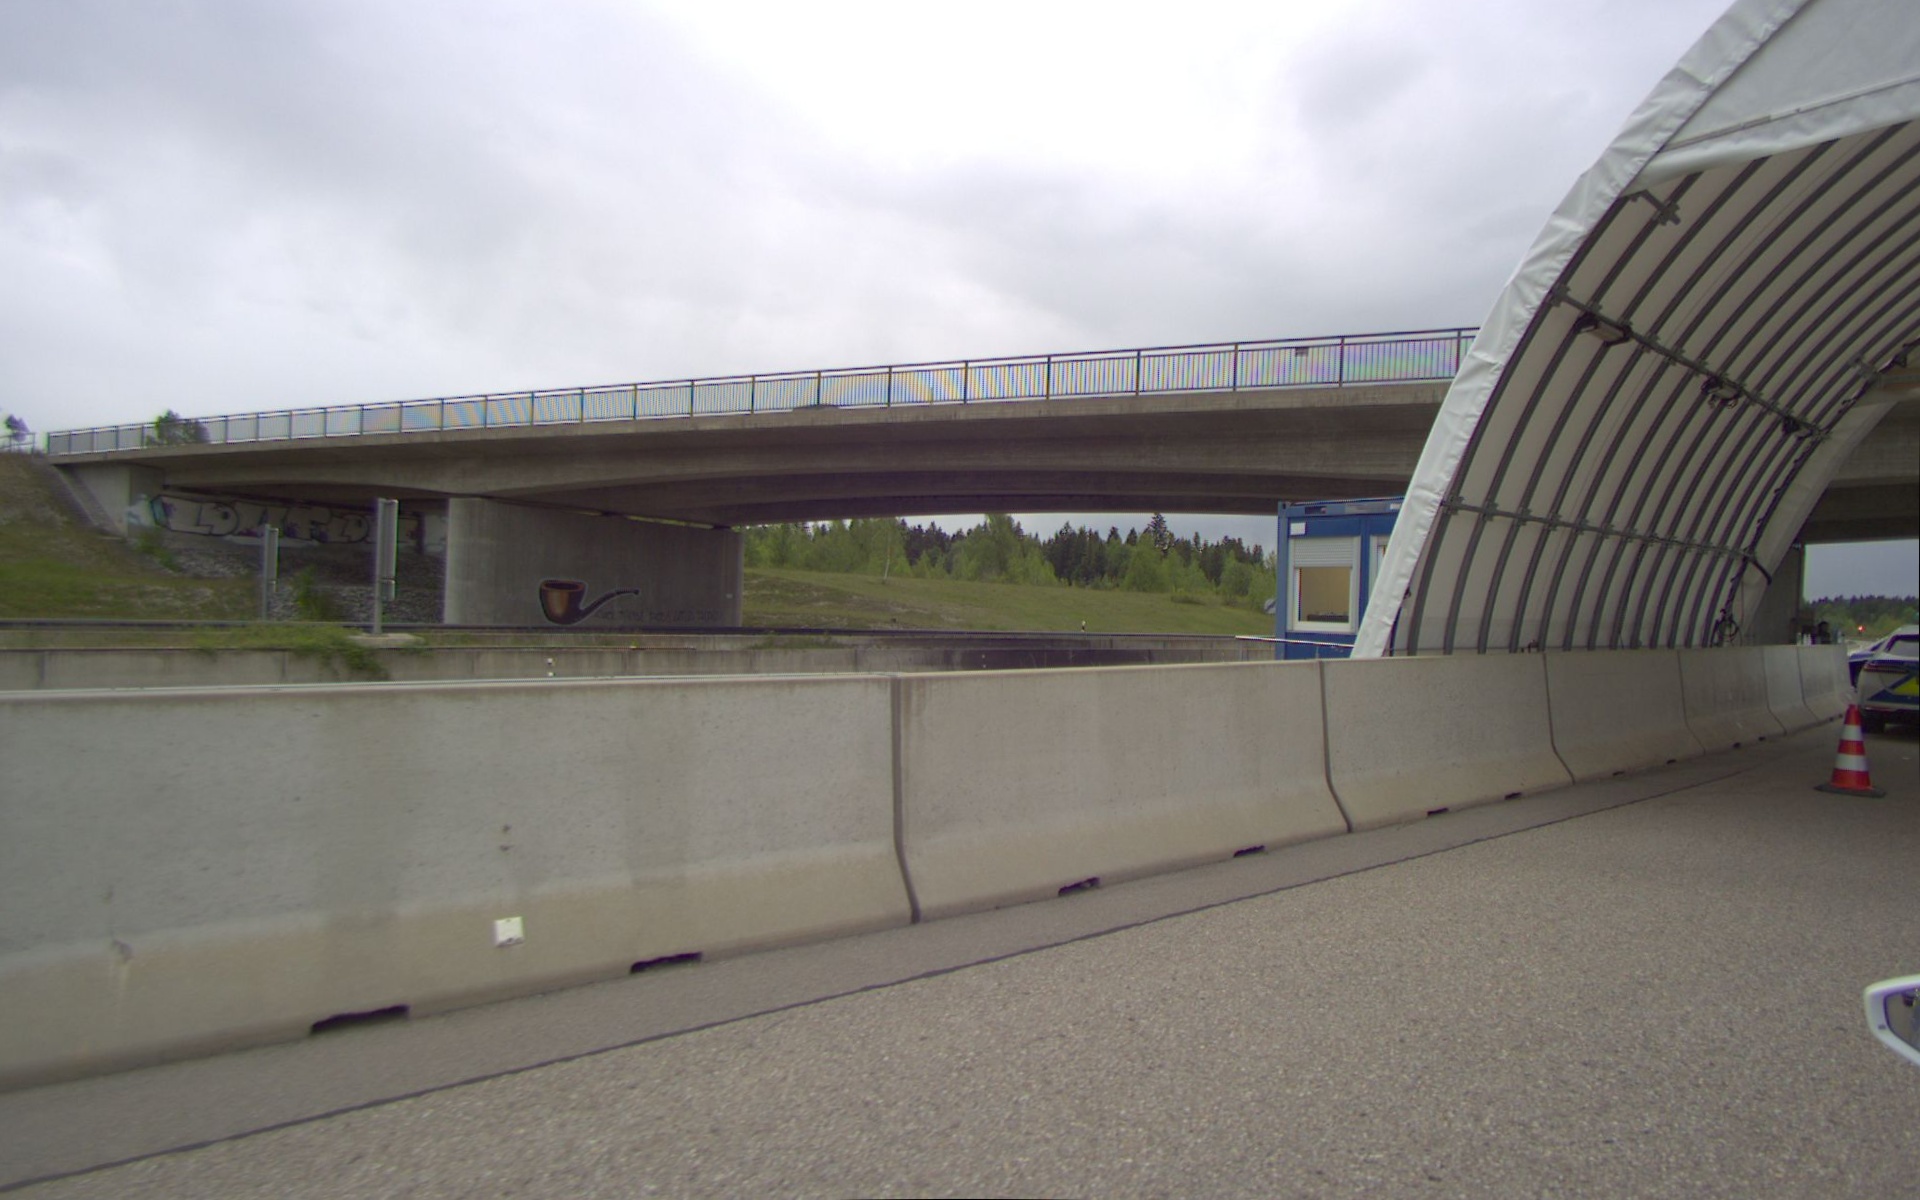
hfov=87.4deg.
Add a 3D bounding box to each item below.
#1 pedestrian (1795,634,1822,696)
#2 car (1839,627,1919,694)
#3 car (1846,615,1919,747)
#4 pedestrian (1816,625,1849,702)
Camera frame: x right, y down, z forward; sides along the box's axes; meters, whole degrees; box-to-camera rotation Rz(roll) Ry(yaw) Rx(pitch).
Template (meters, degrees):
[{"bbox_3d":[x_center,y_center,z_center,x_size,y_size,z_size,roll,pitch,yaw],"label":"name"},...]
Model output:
[{"bbox_3d":[21.884,1.671,25.914,0.497,1.567,0.460,0,-1,44],"label":"pedestrian"},{"bbox_3d":[30.183,1.870,30.652,1.812,2.040,4.802,2,-1,-19],"label":"car"},{"bbox_3d":[13.803,1.084,13.876,3.969,1.668,1.861,2,-2,-41],"label":"car"},{"bbox_3d":[23.779,1.716,27.380,0.651,2.040,0.618,2,-1,-42],"label":"pedestrian"}]
